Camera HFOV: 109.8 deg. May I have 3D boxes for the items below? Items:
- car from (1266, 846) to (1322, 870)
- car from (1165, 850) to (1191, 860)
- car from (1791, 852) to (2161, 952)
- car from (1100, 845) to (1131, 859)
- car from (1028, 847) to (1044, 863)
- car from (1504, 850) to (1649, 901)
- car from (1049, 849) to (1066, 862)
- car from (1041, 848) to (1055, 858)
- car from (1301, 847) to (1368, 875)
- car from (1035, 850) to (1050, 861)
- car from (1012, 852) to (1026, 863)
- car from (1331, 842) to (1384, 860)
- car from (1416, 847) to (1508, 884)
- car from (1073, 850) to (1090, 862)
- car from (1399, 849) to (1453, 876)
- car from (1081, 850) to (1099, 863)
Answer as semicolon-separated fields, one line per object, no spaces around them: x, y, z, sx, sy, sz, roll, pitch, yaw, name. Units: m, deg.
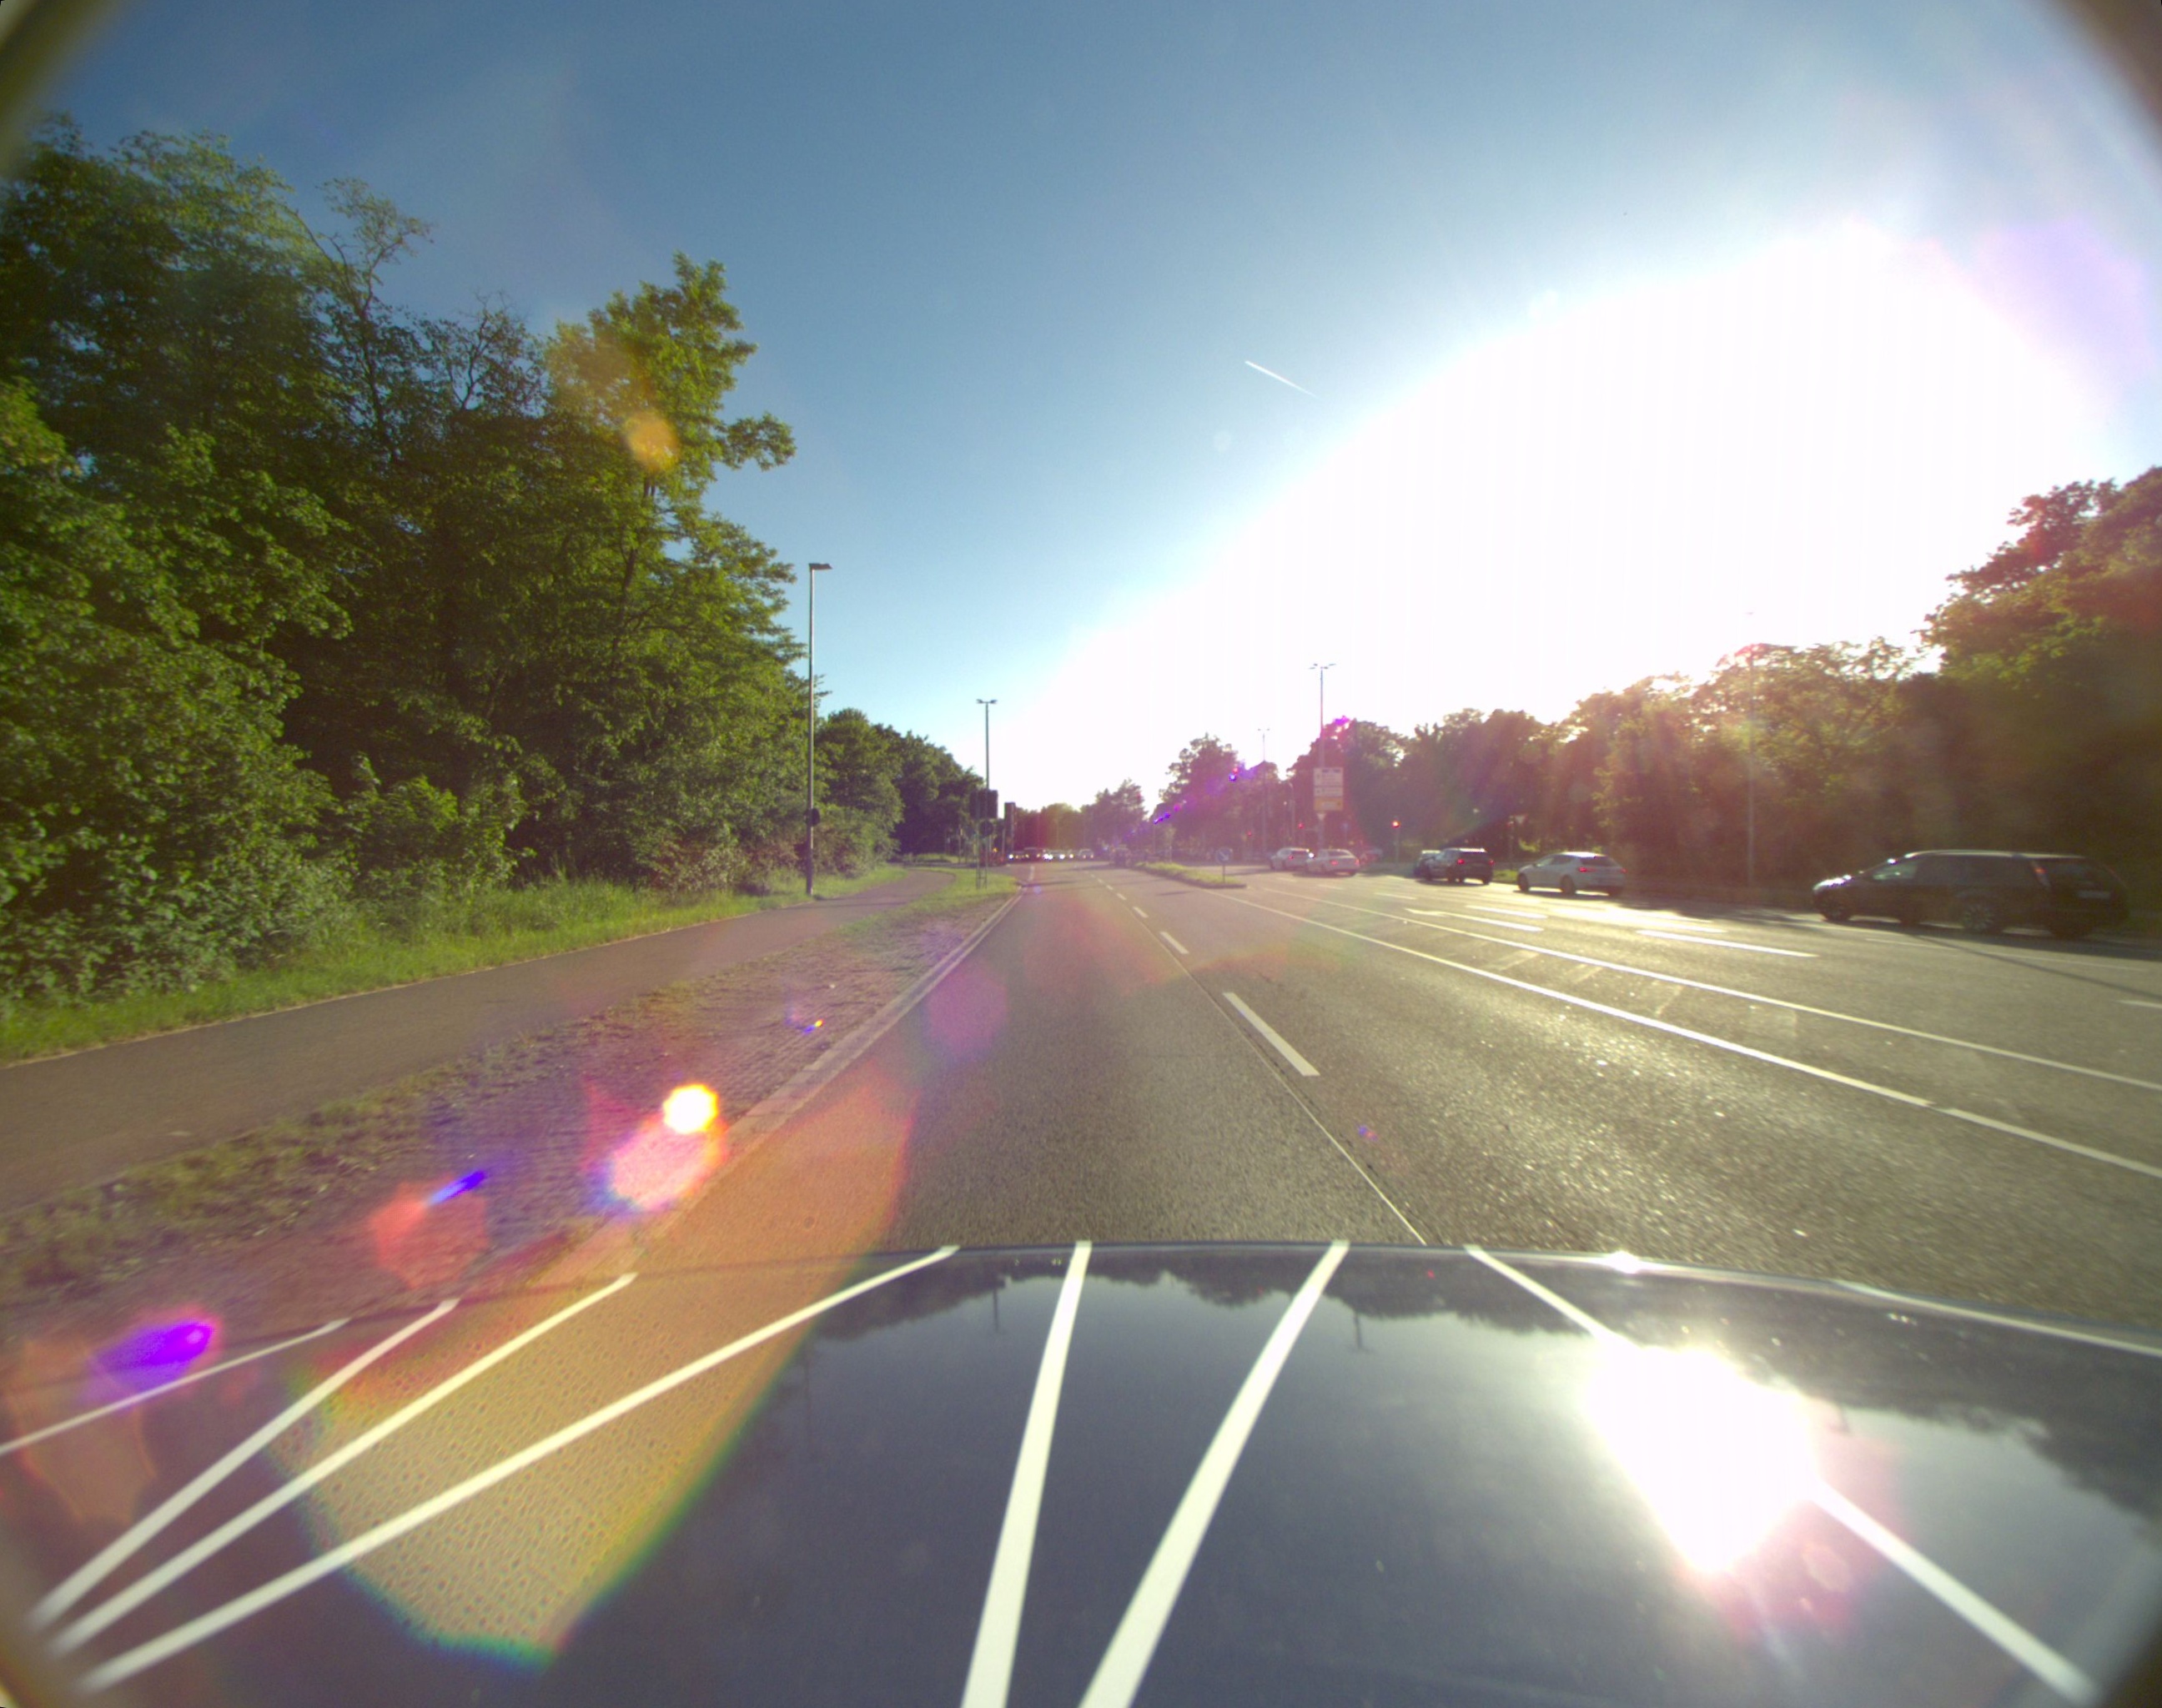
13.898;0.242;49.944;1.999;1.442;4.839;1;1;-4;car
16.889;0.196;132.443;4.002;1.510;1.997;-1;2;-16;car
17.188;0.791;14.982;1.998;1.555;4.647;2;1;1;car
3.730;-0.269;83.379;2.002;1.510;3.993;0;1;-20;car
-5.982;0.100;100.872;1.999;2.057;3.997;-1;2;-4;car
17.456;0.684;27.112;1.999;1.555;4.646;3;1;-1;car
-3.157;0.201;101.454;1.999;1.510;3.997;-1;2;-4;car
-5.239;-0.204;120.637;1.999;1.510;3.997;-1;2;-4;car
14.043;0.366;42.405;1.999;1.442;4.646;1;1;-2;car
-5.570;0.174;109.668;1.999;1.510;3.997;-1;2;-4;car
-9.510;0.526;116.358;1.999;1.510;3.997;-1;2;-4;car
26.842;-0.270;73.815;4.732;1.677;2.002;0;1;17;car
17.889;0.505;35.976;1.998;1.555;4.647;2;1;1;car
0.082;0.312;106.785;1.999;1.510;3.997;-1;2;-4;car
19.361;0.427;42.523;1.994;1.442;4.657;0;1;34;car
1.137;0.245;96.953;1.999;1.510;3.997;-1;2;-4;car
